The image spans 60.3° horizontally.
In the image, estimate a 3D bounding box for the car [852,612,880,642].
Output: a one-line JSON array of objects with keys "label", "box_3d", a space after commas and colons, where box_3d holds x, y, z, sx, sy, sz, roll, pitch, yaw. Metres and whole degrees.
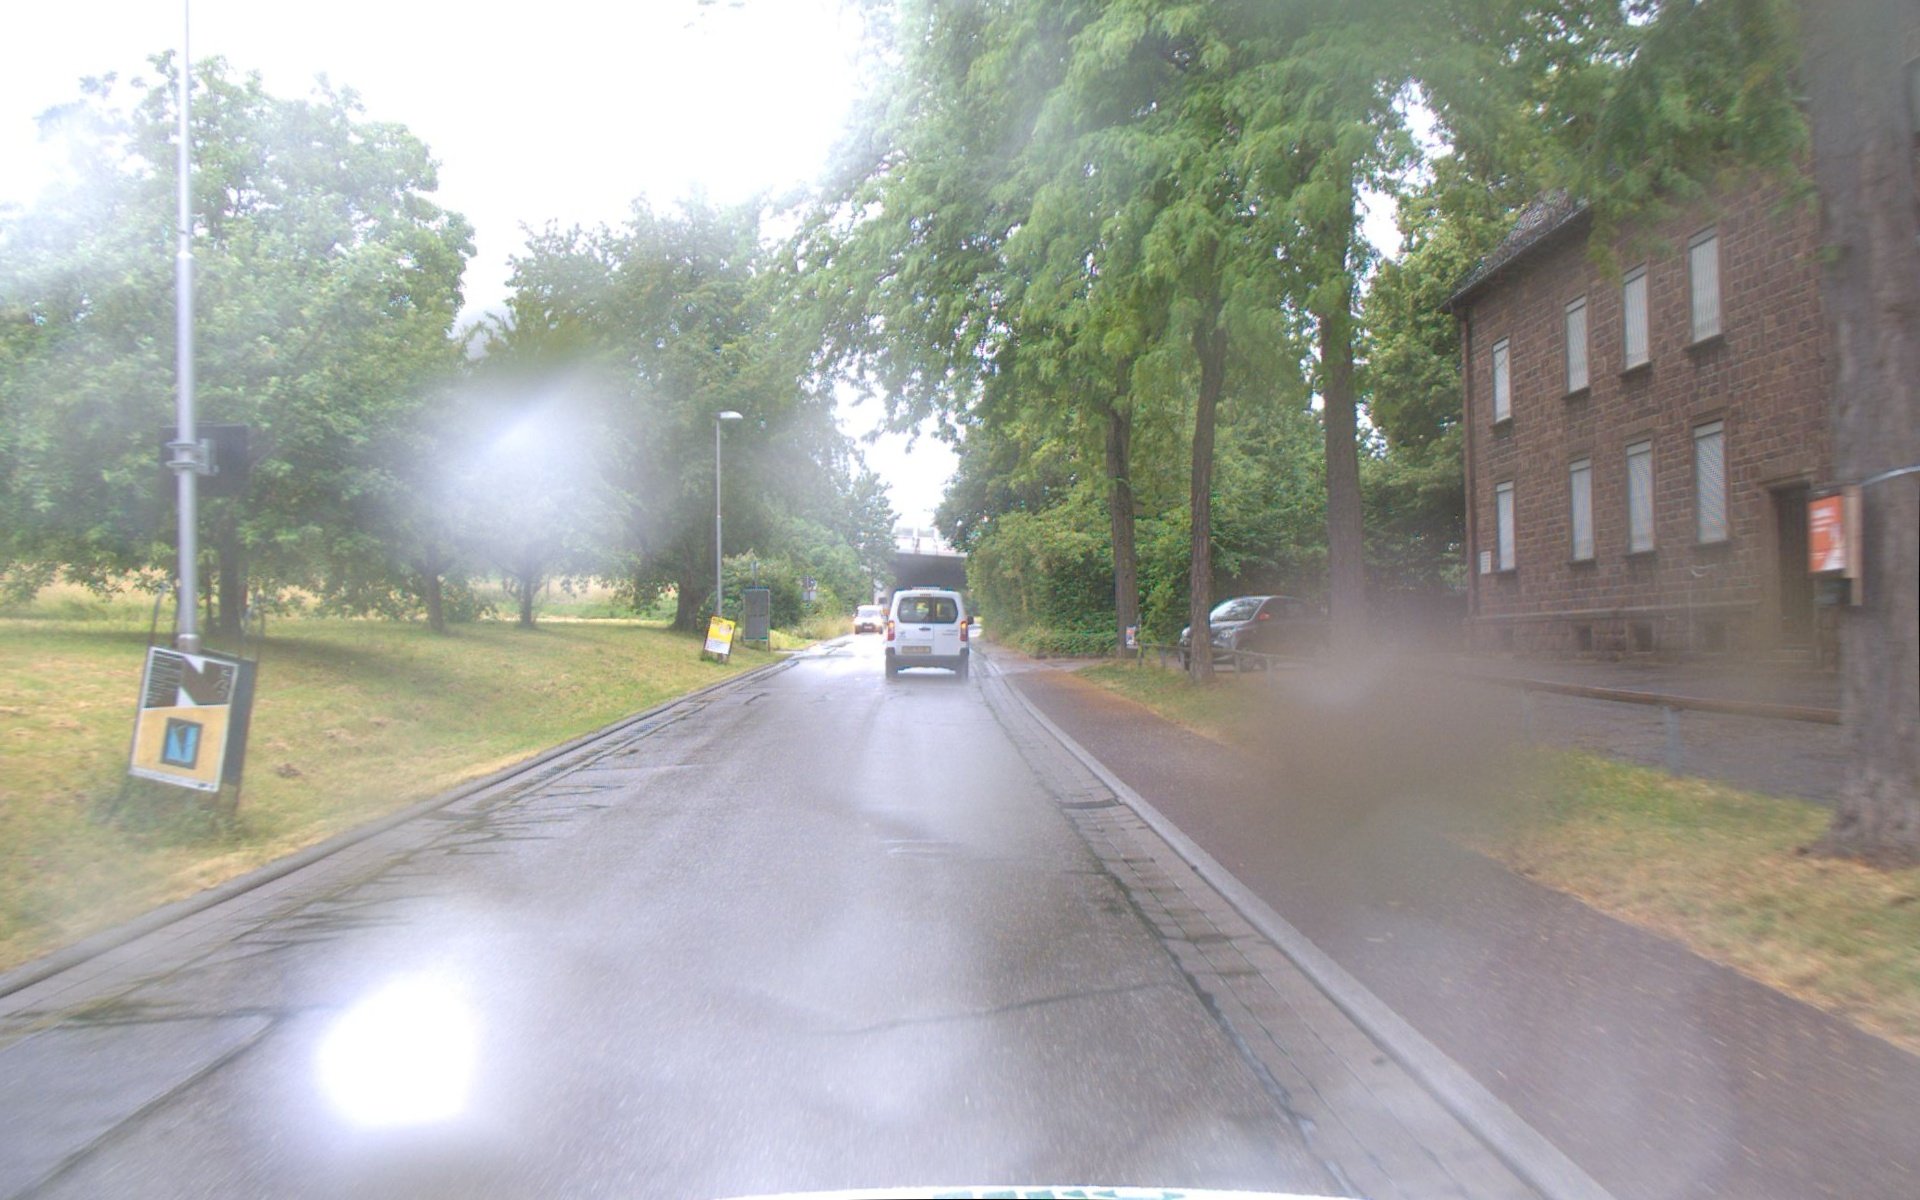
[{"label": "car", "box_3d": [-5.992, 1.716, 105.819, 1.787, 1.864, 4.304, 0, -1, -3]}]

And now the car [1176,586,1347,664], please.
[{"label": "car", "box_3d": [6.420, 0.526, 35.114, 3.576, 1.578, 1.600, 0, -2, -38]}]

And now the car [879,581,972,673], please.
[{"label": "car", "box_3d": [-0.722, 0.560, 35.831, 1.858, 1.838, 3.999, -1, 0, -1]}]

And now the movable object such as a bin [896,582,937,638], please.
[{"label": "movable object such as a bin", "box_3d": [-2.071, 0.500, 79.971, 1.725, 2.592, 4.239, 0, -1, 1]}]
